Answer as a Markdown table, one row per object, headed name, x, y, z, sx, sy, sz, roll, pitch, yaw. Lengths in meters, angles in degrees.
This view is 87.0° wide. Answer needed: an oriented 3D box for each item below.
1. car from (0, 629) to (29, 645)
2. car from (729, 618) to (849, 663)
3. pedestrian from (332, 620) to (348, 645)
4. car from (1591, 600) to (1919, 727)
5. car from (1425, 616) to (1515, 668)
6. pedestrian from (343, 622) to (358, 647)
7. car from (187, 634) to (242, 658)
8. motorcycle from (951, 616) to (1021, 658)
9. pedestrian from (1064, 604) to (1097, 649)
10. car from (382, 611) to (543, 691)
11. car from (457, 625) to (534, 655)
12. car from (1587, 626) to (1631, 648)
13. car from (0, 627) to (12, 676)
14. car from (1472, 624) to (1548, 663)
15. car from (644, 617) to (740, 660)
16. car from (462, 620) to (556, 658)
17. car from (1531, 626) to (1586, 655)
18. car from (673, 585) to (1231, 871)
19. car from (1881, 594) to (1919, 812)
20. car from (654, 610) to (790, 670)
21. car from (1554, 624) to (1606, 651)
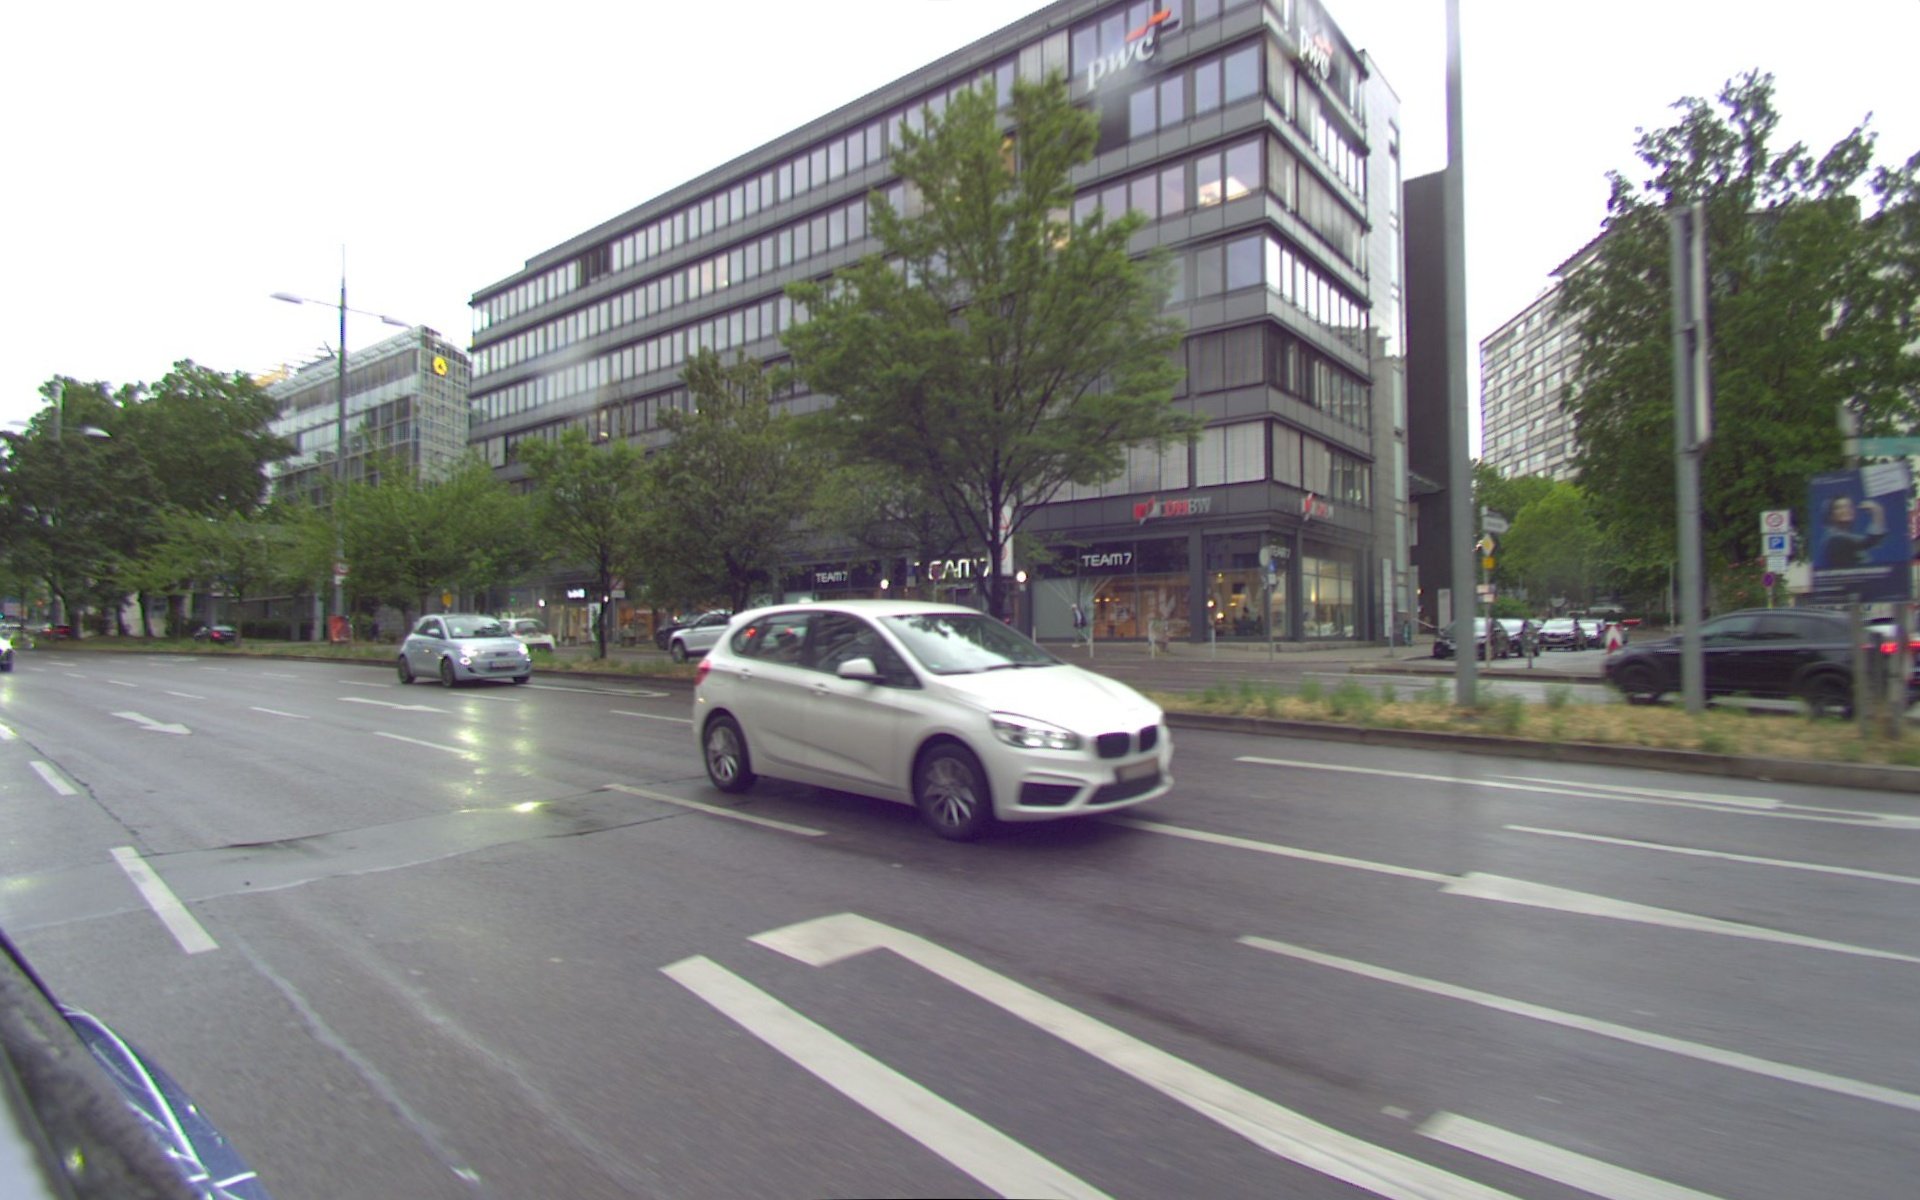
| name | x | y | z | sx | sy | sz | roll | pitch | yaw |
| --- | --- | --- | --- | --- | --- | --- | --- | --- | --- |
| car | -86.124 | 3.352 | 91.858 | 4.305 | 1.445 | 1.711 | -1 | -2 | 37 |
| car | -6.561 | 1.503 | 38.464 | 4.768 | 1.496 | 1.791 | -1 | 2 | 40 |
| pedestrian | -45.974 | 2.408 | 75.035 | 0.924 | 1.812 | 0.720 | -1 | -1 | 39 |
| car | 11.956 | 0.823 | 14.665 | 1.965 | 1.556 | 4.496 | 0 | -1 | -19 |
| car | 17.843 | 1.402 | 35.308 | 1.998 | 1.652 | 3.948 | -1 | 0 | 39 |
| pedestrian | -45.671 | 2.597 | 75.853 | 0.924 | 1.846 | 0.720 | -1 | -1 | 39 |
| car | -49.605 | 3.025 | 67.304 | 4.294 | 1.487 | 1.792 | -1 | -2 | 37 |
| motorcycle | 0.915 | 1.306 | 35.450 | 2.346 | 1.404 | 0.856 | -1 | 2 | 13 |
| pedestrian | 4.492 | 1.002 | 37.693 | 0.965 | 1.650 | 0.776 | -2 | -2 | 39 |
| car | -10.836 | 1.066 | 21.978 | 3.687 | 1.585 | 1.766 | -2 | -2 | 39 |
| car | -24.199 | 2.055 | 52.684 | 4.302 | 1.455 | 1.792 | -1 | 0 | 36 |
| car | 40.826 | 2.302 | 63.669 | 1.846 | 1.298 | 3.947 | -1 | 0 | 40 |
| car | -30.627 | 1.575 | 30.972 | 4.285 | 1.446 | 1.916 | -2 | -2 | 41 |
| car | 21.118 | 1.629 | 38.774 | 1.845 | 1.298 | 3.947 | -1 | 0 | 39 |
| car | -11.258 | 1.598 | 42.418 | 4.307 | 1.673 | 1.790 | -1 | 0 | 41 |
| car | -17.776 | 1.515 | 39.815 | 4.077 | 1.442 | 1.666 | -2 | -1 | 38 |
| car | 29.999 | 2.015 | 50.647 | 1.845 | 1.298 | 3.948 | -1 | 0 | 39 |
| car | -0.306 | 0.762 | 7.751 | 4.289 | 1.585 | 1.763 | -2 | -2 | 44 |
| car | 8.503 | 0.645 | 5.585 | 4.649 | 1.462 | 1.834 | -1 | -1 | 18 |
| car | -7.533 | 1.237 | 31.814 | 4.487 | 1.741 | 1.721 | -1 | -1 | 38 |
| car | 33.652 | 1.998 | 54.891 | 1.846 | 1.298 | 3.947 | -1 | 0 | 40 |
